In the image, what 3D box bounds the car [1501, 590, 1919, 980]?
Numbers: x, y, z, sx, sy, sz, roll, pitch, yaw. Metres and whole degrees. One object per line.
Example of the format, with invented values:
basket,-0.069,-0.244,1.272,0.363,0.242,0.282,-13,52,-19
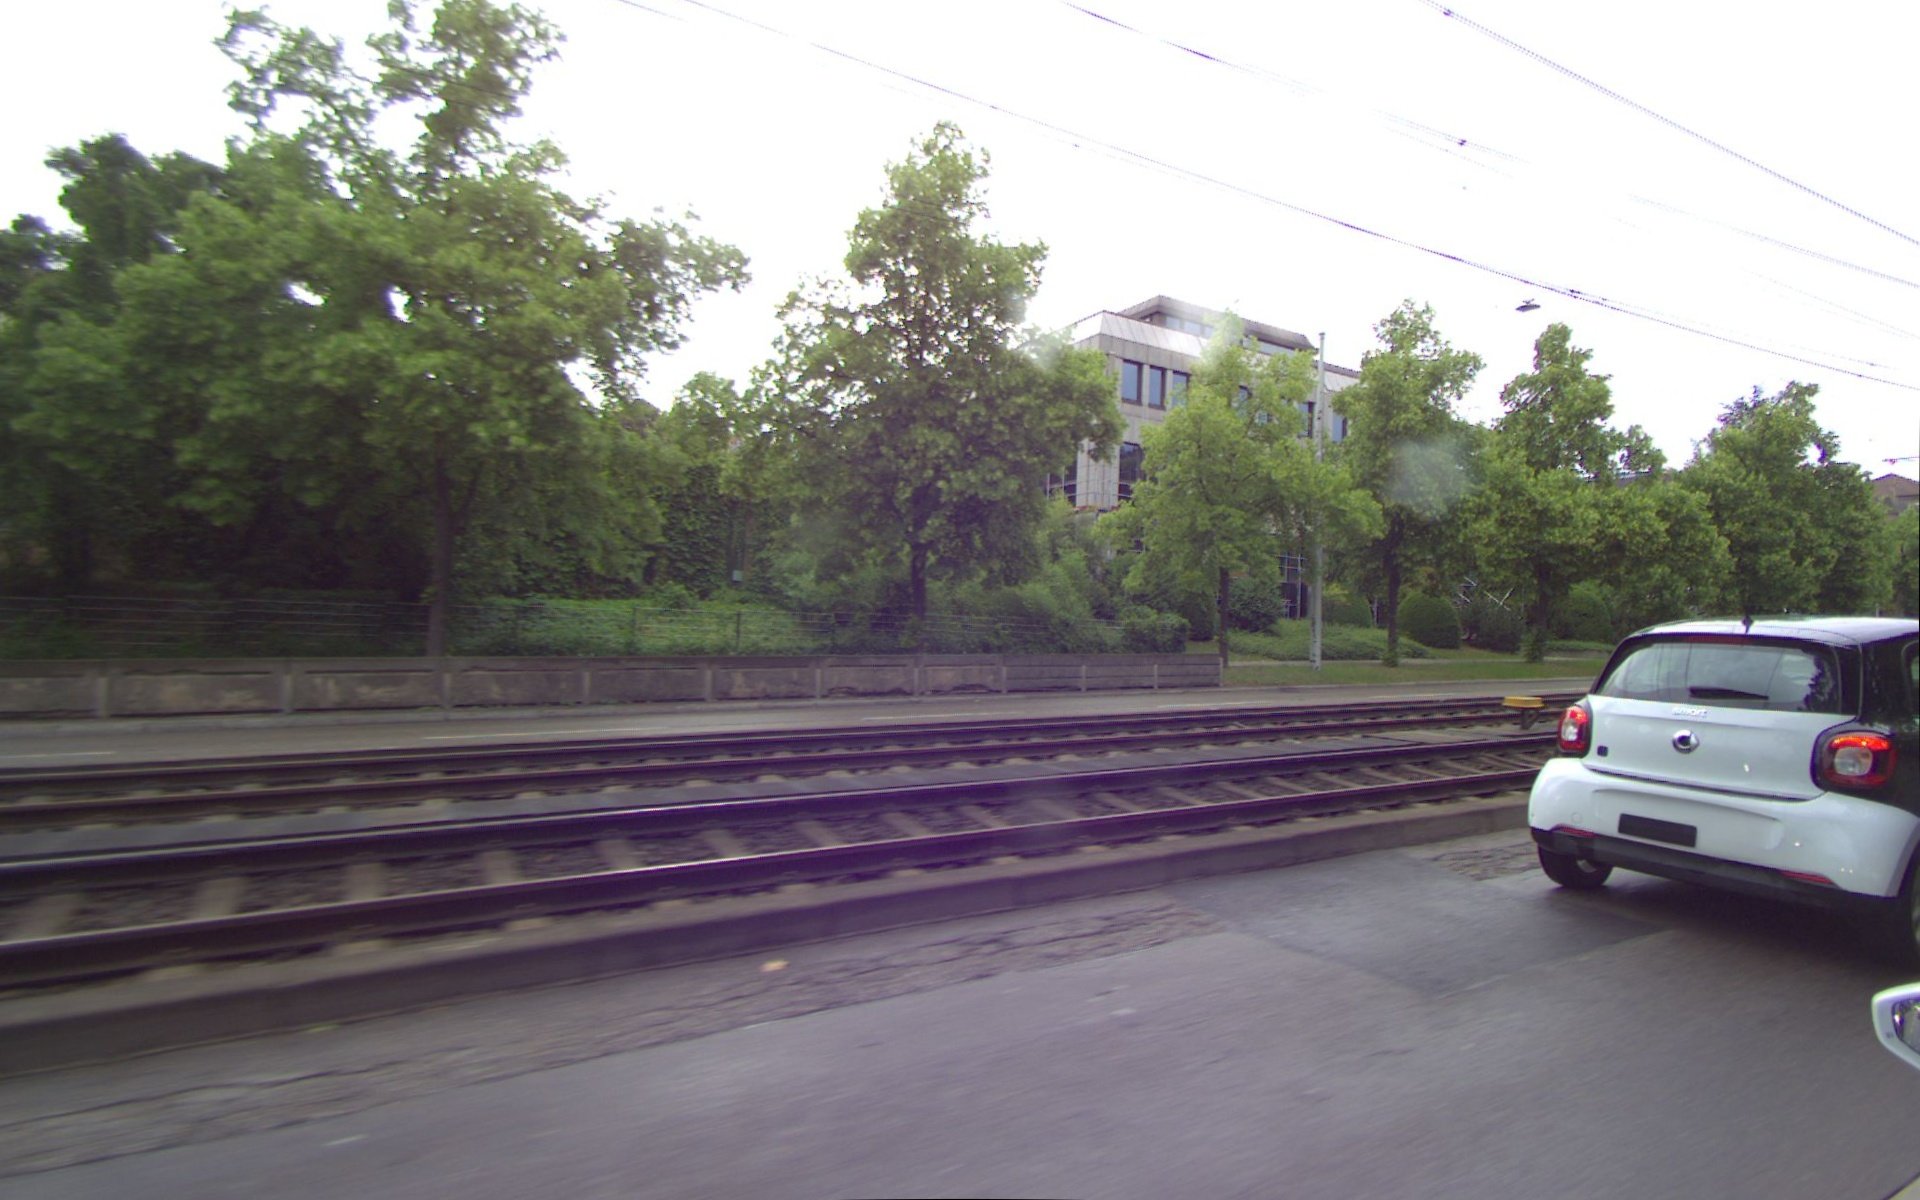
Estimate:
car,4.928,0.777,5.659,3.678,1.551,1.668,1,-1,-30
